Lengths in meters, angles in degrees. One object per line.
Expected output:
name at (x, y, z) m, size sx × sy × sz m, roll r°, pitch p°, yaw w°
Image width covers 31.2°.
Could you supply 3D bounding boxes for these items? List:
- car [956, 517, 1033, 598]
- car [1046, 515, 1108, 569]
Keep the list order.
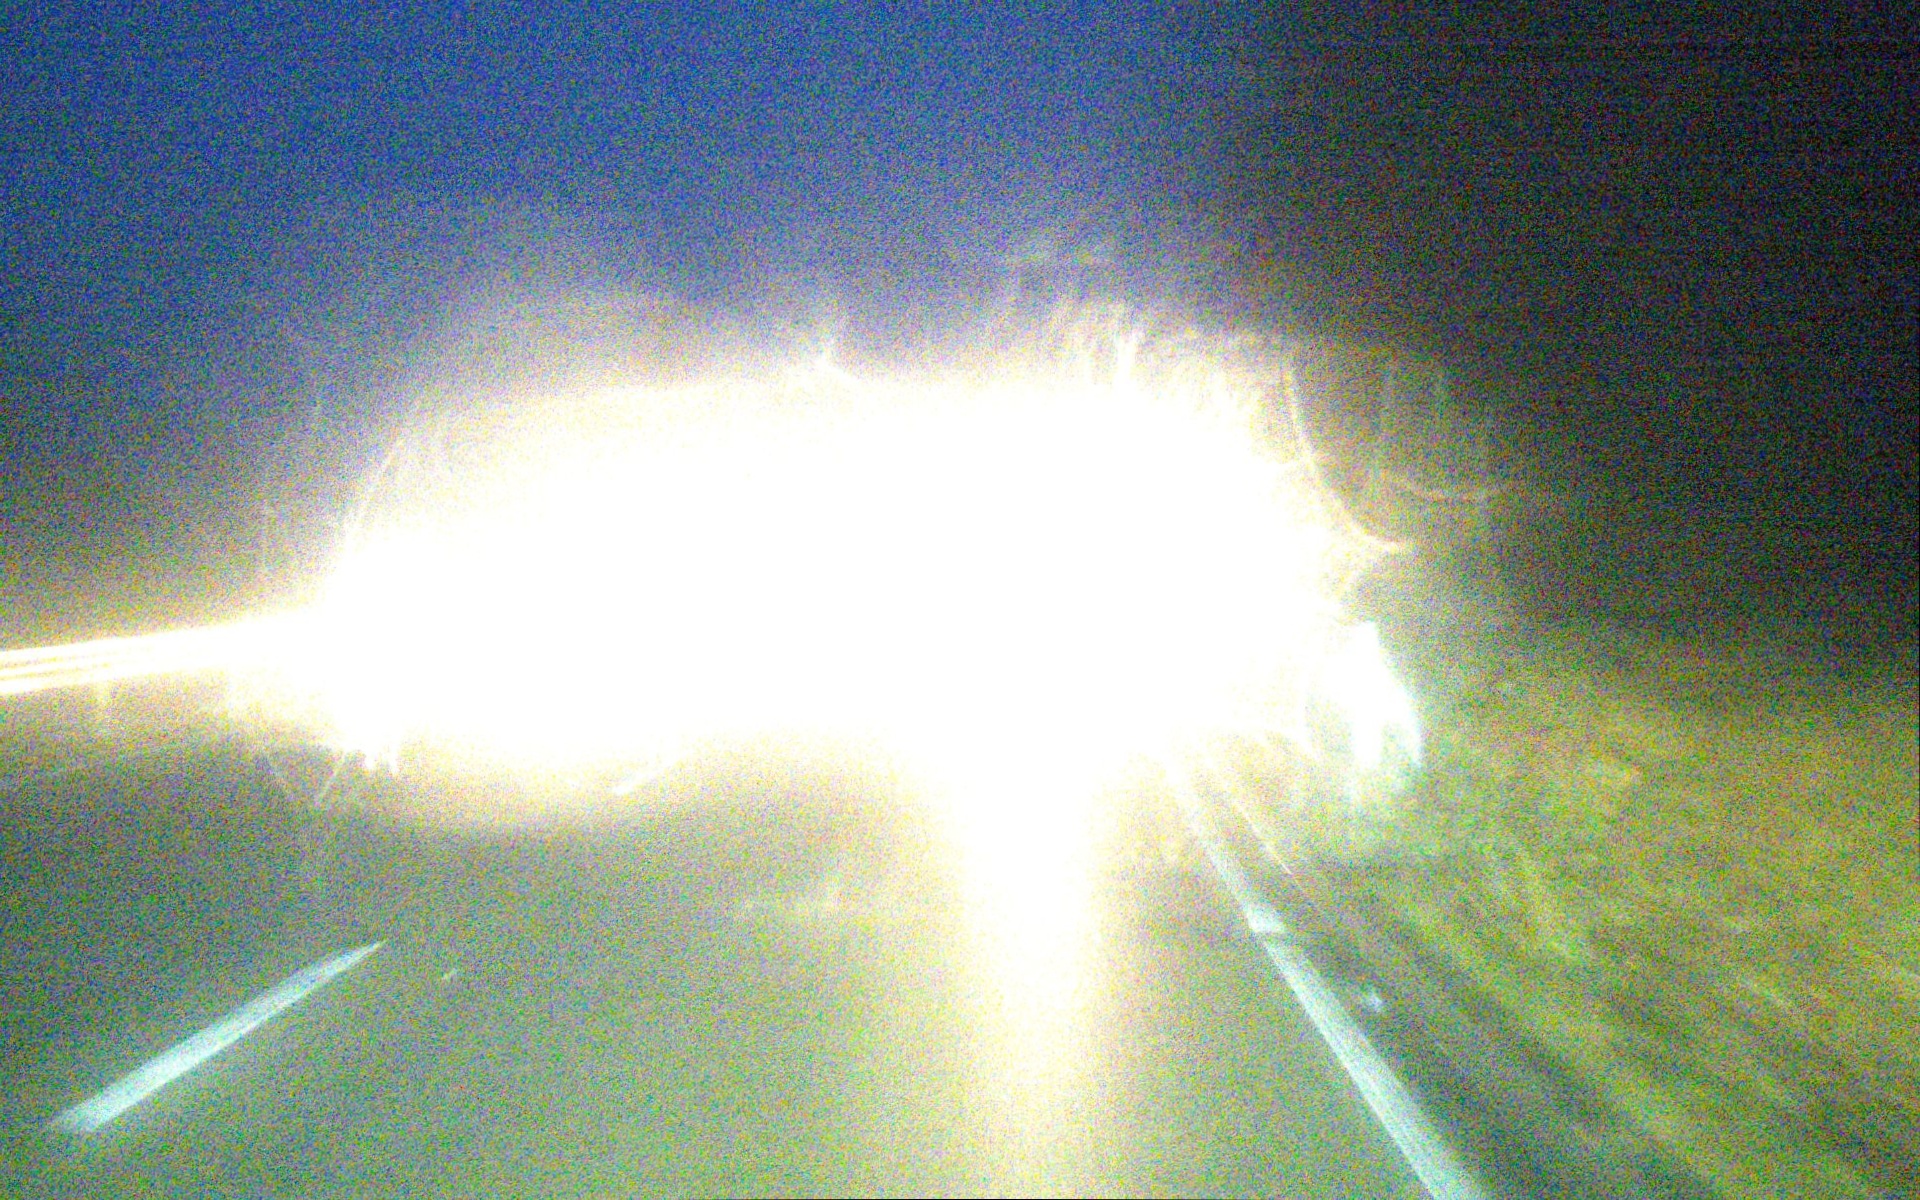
car at (0.854, -1.031, 81.923) m, size 1.757 × 1.861 × 4.000 m, roll 0°, pitch 1°, yaw 2°
car at (4.071, -2.021, 119.367) m, size 1.994 × 1.650 × 4.000 m, roll -4°, pitch 2°, yaw 3°
